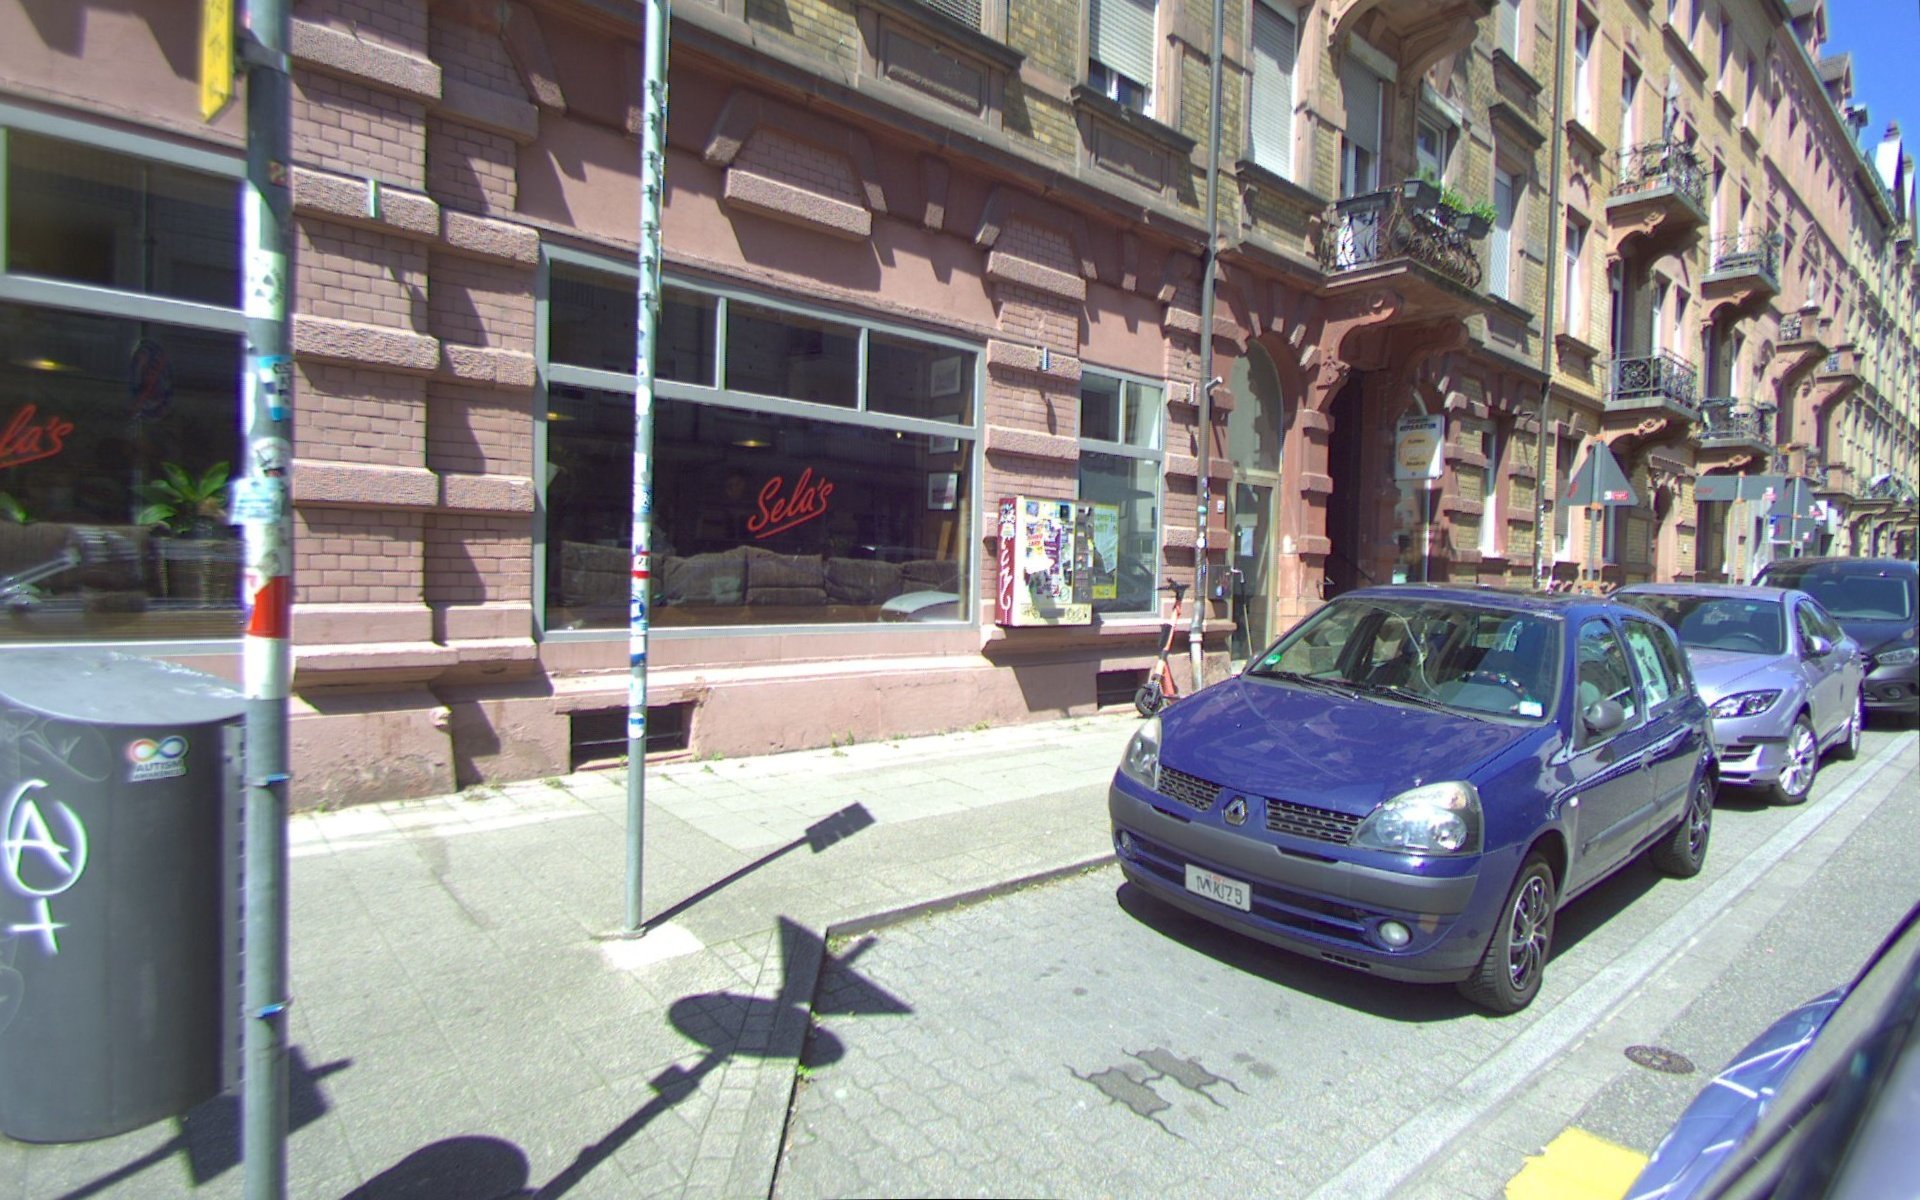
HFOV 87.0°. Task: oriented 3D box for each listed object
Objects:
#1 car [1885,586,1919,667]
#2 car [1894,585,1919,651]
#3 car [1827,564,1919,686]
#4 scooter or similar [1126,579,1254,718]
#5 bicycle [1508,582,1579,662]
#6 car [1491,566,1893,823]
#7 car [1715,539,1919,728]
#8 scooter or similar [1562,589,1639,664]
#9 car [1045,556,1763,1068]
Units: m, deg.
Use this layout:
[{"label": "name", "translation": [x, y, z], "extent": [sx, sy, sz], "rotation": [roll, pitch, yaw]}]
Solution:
[{"label": "car", "translation": [19.038, 0.471, 19.493], "extent": [1.760, 1.467, 3.845], "rotation": [2, 2, 43]}, {"label": "car", "translation": [23.236, 0.408, 23.645], "extent": [3.933, 1.479, 1.827], "rotation": [-1, 2, -44]}, {"label": "car", "translation": [15.143, 0.345, 15.943], "extent": [3.931, 1.755, 1.705], "rotation": [0, 1, -41]}, {"label": "scooter or similar", "translation": [2.083, 0.414, 9.110], "extent": [1.246, 1.191, 0.294], "rotation": [0, 1, -32]}, {"label": "bicycle", "translation": [8.616, 0.306, 14.920], "extent": [1.725, 1.117, 0.354], "rotation": [0, 2, -42]}, {"label": "car", "translation": [6.005, 0.520, 8.065], "extent": [4.410, 1.449, 1.728], "rotation": [-1, 3, -43]}, {"label": "car", "translation": [10.303, 0.278, 11.614], "extent": [4.265, 1.788, 1.827], "rotation": [0, 3, -43]}, {"label": "scooter or similar", "translation": [10.612, 0.410, 16.737], "extent": [2.112, 1.167, 0.477], "rotation": [0, 1, -42]}, {"label": "car", "translation": [2.258, 0.584, 4.726], "extent": [3.596, 1.449, 1.631], "rotation": [0, 3, -41]}]
